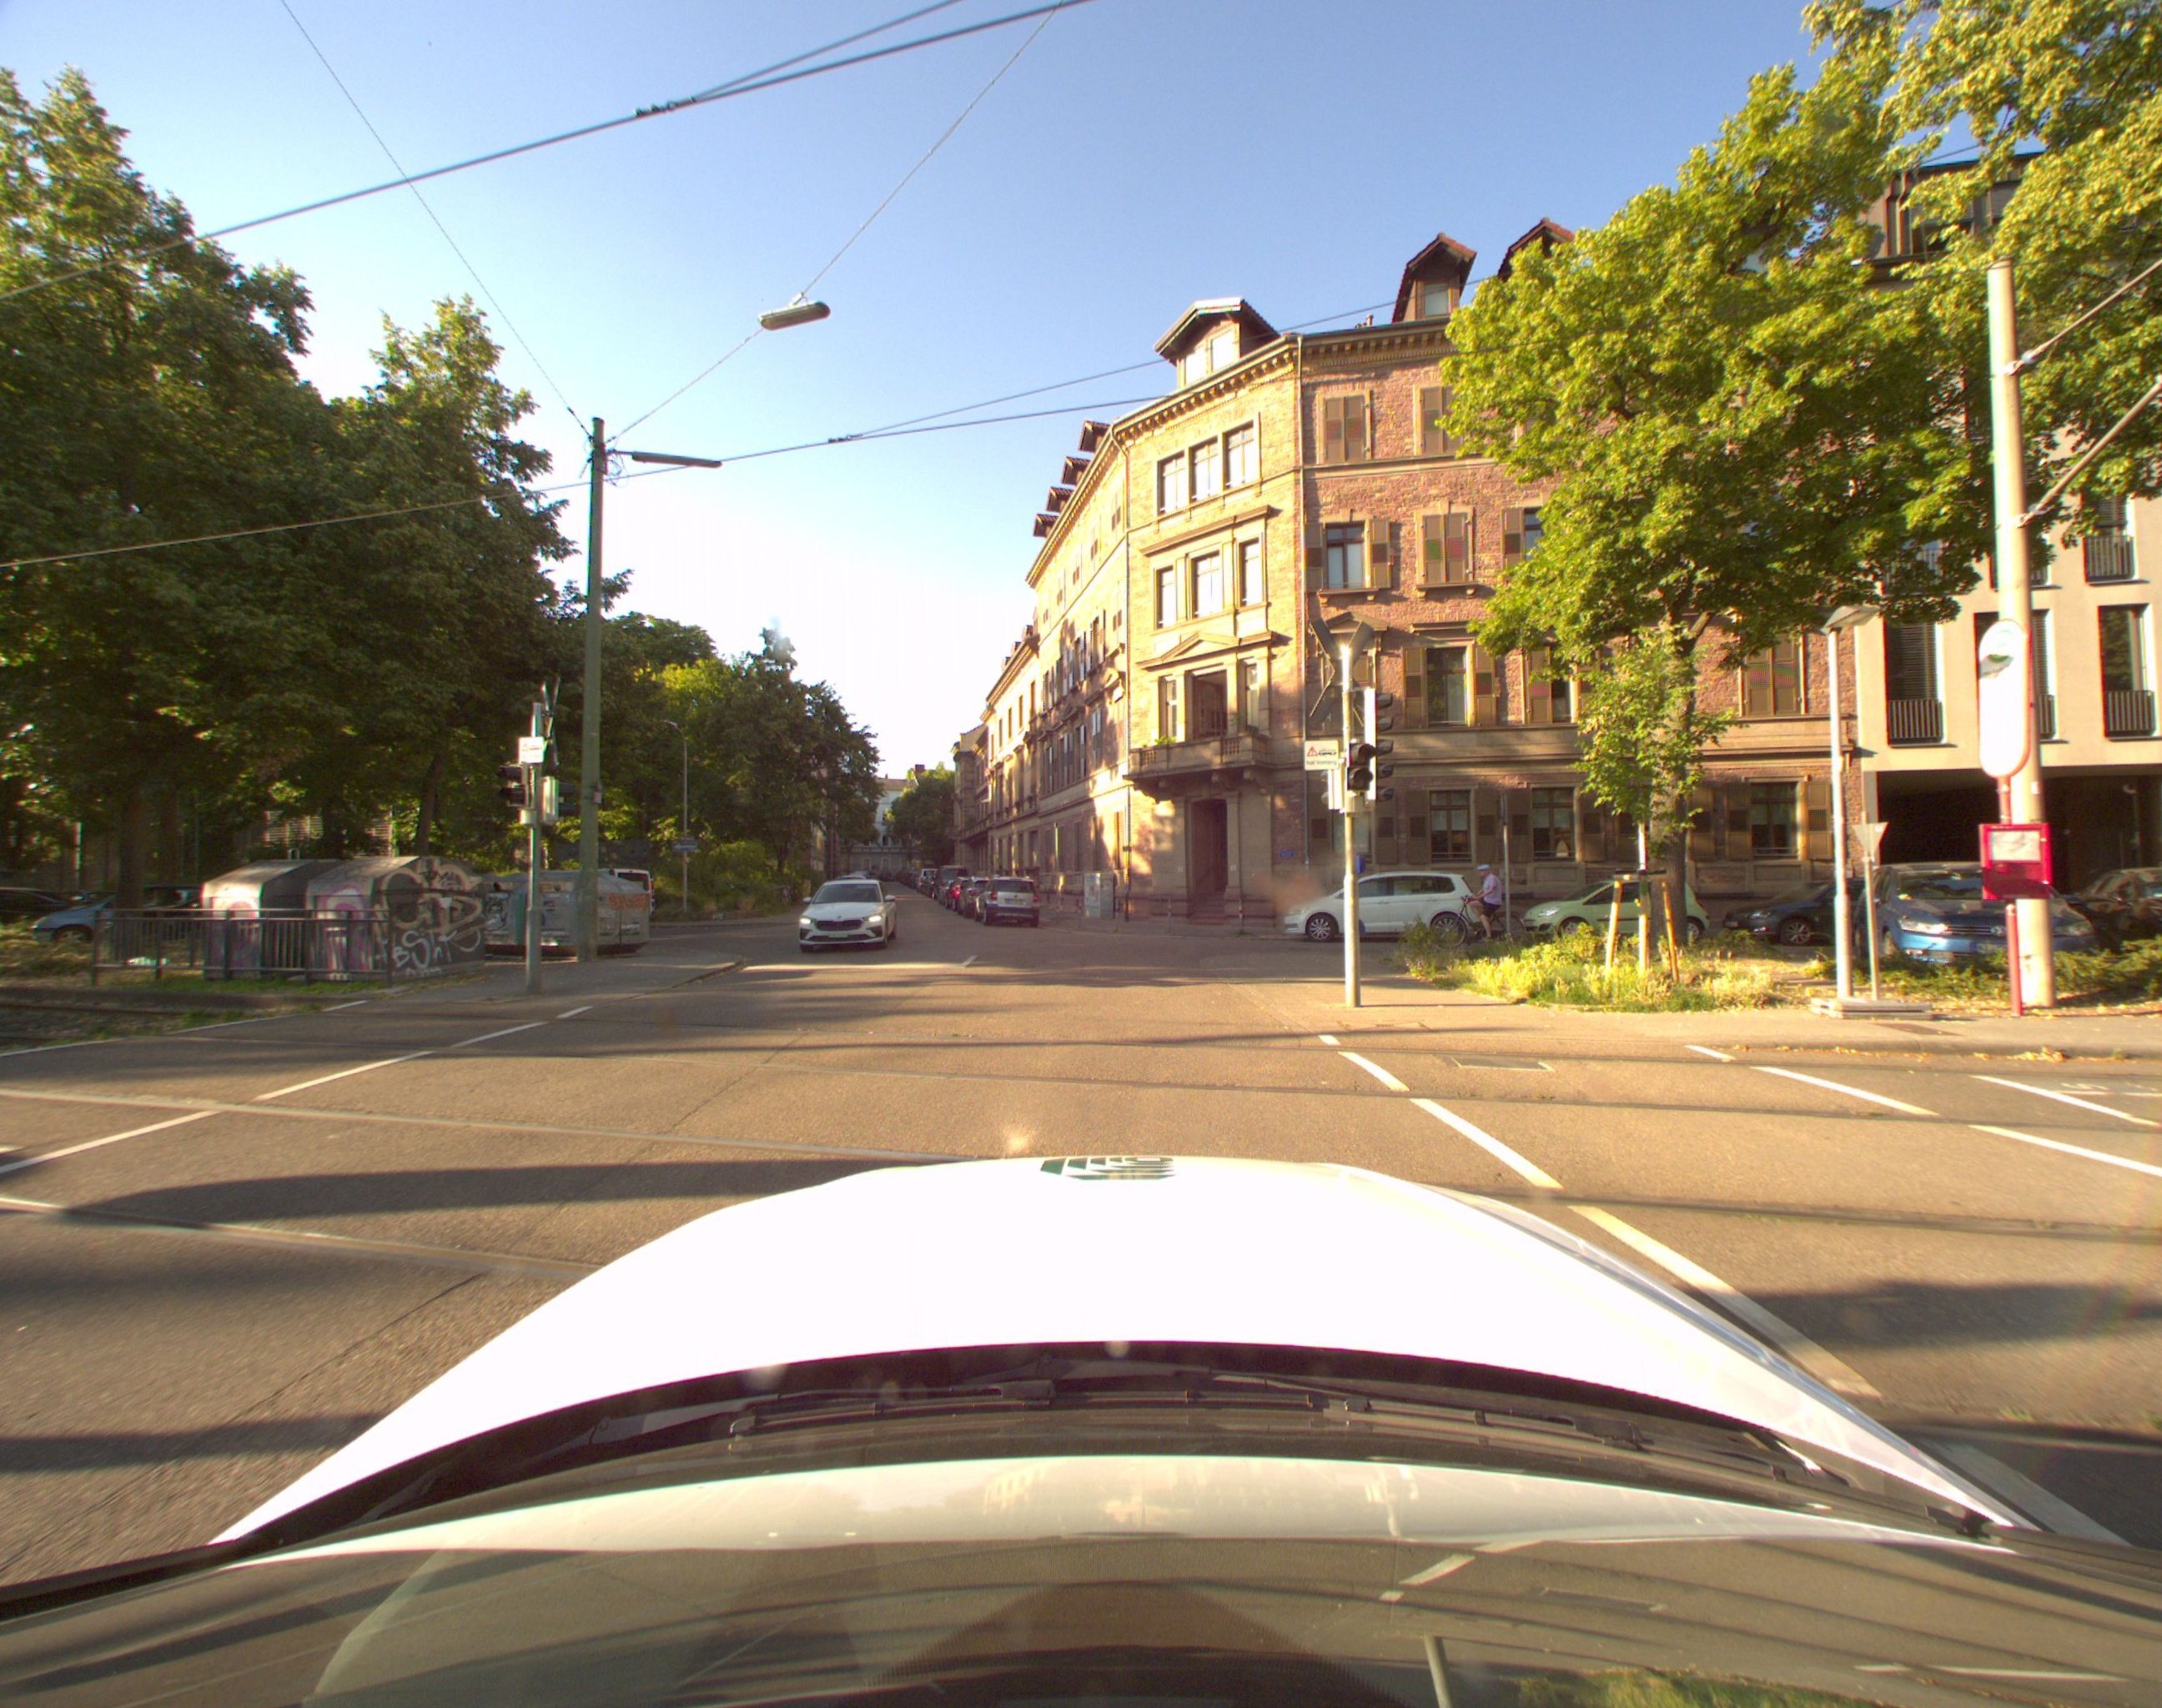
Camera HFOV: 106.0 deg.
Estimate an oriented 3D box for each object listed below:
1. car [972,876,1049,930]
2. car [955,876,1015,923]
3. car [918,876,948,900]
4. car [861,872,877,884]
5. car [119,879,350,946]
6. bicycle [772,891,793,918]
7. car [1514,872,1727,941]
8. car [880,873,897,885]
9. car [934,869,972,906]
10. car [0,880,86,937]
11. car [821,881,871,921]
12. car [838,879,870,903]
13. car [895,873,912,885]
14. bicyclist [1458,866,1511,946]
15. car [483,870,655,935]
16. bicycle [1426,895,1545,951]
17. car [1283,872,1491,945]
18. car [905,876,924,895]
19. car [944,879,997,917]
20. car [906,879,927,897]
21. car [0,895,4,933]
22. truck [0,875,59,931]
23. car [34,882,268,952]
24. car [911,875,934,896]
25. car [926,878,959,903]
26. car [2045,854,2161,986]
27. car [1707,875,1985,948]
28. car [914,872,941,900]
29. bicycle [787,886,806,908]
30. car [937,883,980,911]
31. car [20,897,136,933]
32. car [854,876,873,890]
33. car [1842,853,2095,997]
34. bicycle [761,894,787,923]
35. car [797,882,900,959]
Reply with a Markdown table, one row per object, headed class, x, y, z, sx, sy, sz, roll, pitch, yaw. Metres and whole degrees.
| class | x | y | z | sx | sy | sz | roll | pitch | yaw |
| --- | --- | --- | --- | --- | --- | --- | --- | --- | --- |
| car | -2.509 | 1.667 | 28.137 | 1.919 | 1.657 | 4.165 | 3 | -3 | -15 |
| car | -3.974 | 1.811 | 33.098 | 1.828 | 1.724 | 4.521 | 3 | -3 | -14 |
| car | -10.806 | 2.436 | 59.410 | 1.800 | 1.623 | 3.935 | 3 | -2 | -14 |
| car | -31.867 | 3.665 | 122.402 | 2.000 | 1.684 | 3.972 | 2 | -4 | -20 |
| car | -20.073 | 1.394 | 19.472 | 1.587 | 1.448 | 3.640 | -2 | -5 | 42 |
| bicycle | -13.145 | 2.227 | 35.963 | 0.597 | 1.101 | 2.614 | 0 | -2 | -14 |
| car | 12.342 | 1.216 | 18.882 | 3.690 | 1.490 | 1.746 | -1 | -4 | 10 |
| car | -29.311 | 3.805 | 123.877 | 2.000 | 1.684 | 3.972 | 2 | -4 | -20 |
| car | -7.709 | 1.987 | 48.704 | 1.800 | 2.073 | 3.935 | 3 | -2 | -14 |
| car | -29.337 | 1.449 | 21.462 | 1.715 | 1.497 | 3.852 | -4 | -6 | 39 |
| car | -10.336 | 2.028 | 36.077 | 1.828 | 1.615 | 4.270 | 3 | -3 | -14 |
| car | -15.067 | 2.441 | 54.124 | 1.828 | 1.501 | 3.912 | 3 | -3 | -14 |
| car | -27.238 | 3.859 | 124.753 | 2.000 | 1.684 | 3.972 | 2 | -4 | -20 |
| bicyclist | 8.317 | 1.056 | 16.809 | 0.865 | 1.589 | 0.703 | 0 | -2 | 15 |
| car | -16.725 | 1.565 | 26.702 | 4.614 | 2.003 | 1.956 | -1 | -2 | 11 |
| bicycle | 8.304 | 1.403 | 16.797 | 2.101 | 1.054 | 0.703 | 1 | -2 | 15 |
| car | 7.230 | 1.313 | 19.726 | 4.454 | 1.650 | 1.880 | -1 | -4 | 11 |
| car | -18.491 | 3.479 | 90.154 | 1.800 | 2.017 | 3.935 | 3 | -2 | -14 |
| car | -5.208 | 2.019 | 38.037 | 1.802 | 1.614 | 3.932 | 3 | -2 | -17 |
| car | -16.367 | 3.365 | 80.958 | 1.800 | 1.728 | 3.935 | 3 | -2 | -14 |
| car | -34.538 | 1.875 | 23.619 | 1.715 | 1.392 | 3.852 | -4 | -6 | 39 |
| truck | -47.659 | 2.140 | 35.593 | 4.333 | 2.353 | 2.385 | -1 | -2 | 19 |
| car | -22.856 | 1.553 | 20.226 | 1.587 | 1.563 | 3.639 | -2 | -5 | 43 |
| car | -14.795 | 2.927 | 76.035 | 1.800 | 1.839 | 3.935 | 3 | -2 | -14 |
| car | -9.219 | 2.413 | 54.000 | 1.800 | 1.524 | 3.935 | 3 | -2 | -14 |
| car | 15.519 | 0.820 | 11.358 | 1.905 | 1.635 | 4.581 | -1 | -1 | 40 |
| car | 16.640 | 1.258 | 17.953 | 4.123 | 1.490 | 1.747 | -1 | -4 | 12 |
| car | -12.239 | 2.515 | 64.912 | 1.800 | 2.073 | 3.935 | 3 | -2 | -14 |
| bicycle | -14.755 | 2.215 | 42.248 | 0.597 | 1.101 | 2.615 | 0 | -2 | -13 |
| car | -6.492 | 2.245 | 42.977 | 1.800 | 1.345 | 3.935 | 3 | -2 | -14 |
| car | -40.396 | 2.434 | 32.813 | 3.562 | 1.385 | 1.582 | -1 | -2 | 15 |
| car | -24.084 | 3.221 | 90.303 | 1.828 | 1.501 | 3.912 | 3 | -3 | -14 |
| car | 12.553 | 0.939 | 11.844 | 1.719 | 1.688 | 4.446 | -2 | -3 | 38 |
| bicycle | -12.533 | 2.198 | 33.326 | 0.597 | 1.101 | 2.616 | 0 | -2 | -12 |
| car | -5.061 | 1.377 | 18.206 | 1.701 | 1.457 | 4.050 | 0 | -1 | -9 |
